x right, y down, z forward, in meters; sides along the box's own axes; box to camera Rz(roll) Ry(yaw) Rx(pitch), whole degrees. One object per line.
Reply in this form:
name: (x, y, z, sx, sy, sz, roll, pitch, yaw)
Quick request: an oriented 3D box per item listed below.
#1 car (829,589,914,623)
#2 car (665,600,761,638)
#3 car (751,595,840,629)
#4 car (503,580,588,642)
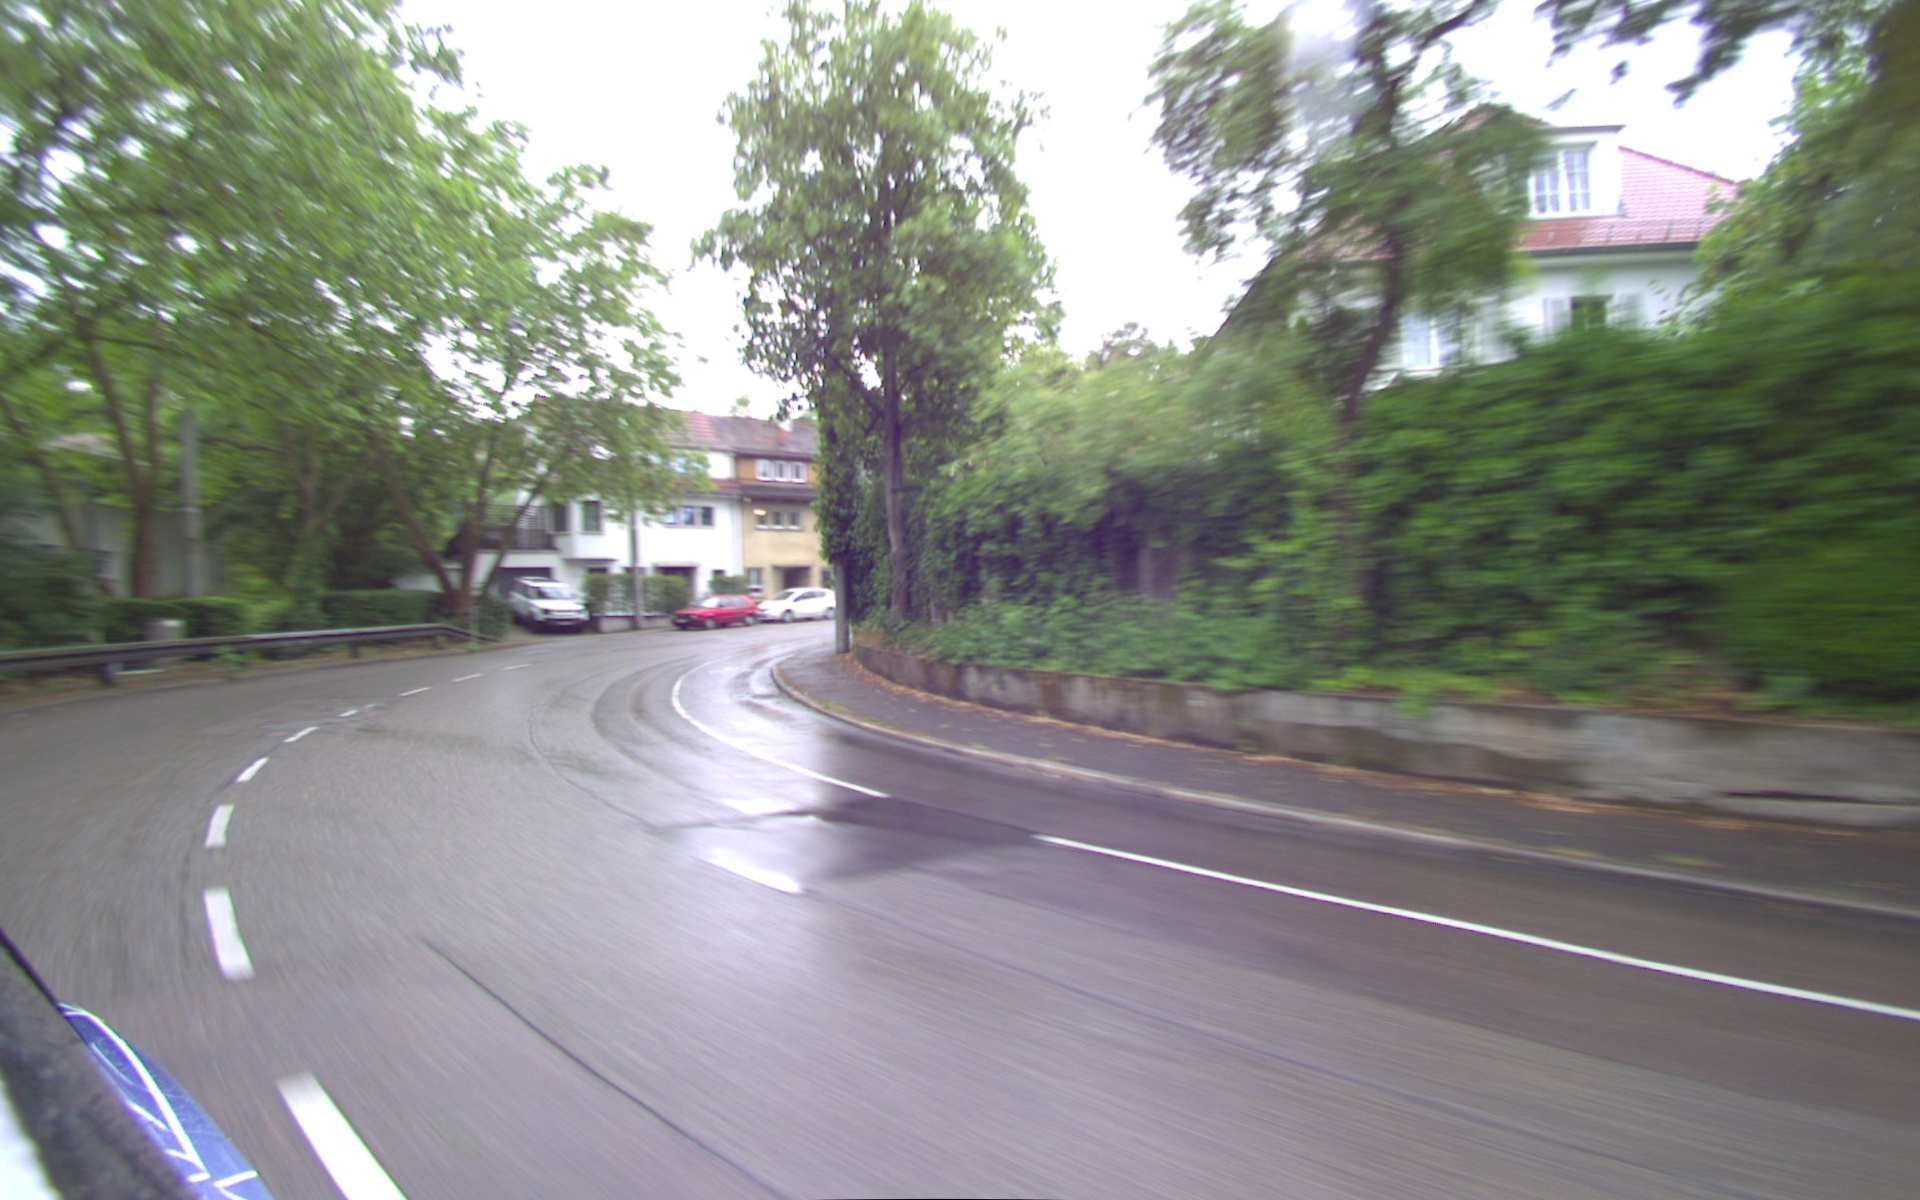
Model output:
car: (-4.327, 0.245, 49.820, 4.028, 1.528, 1.636, -2, 2, -43)
car: (-10.334, 0.749, 42.598, 1.628, 1.430, 3.959, 0, 1, 30)
car: (-7.532, 0.527, 46.640, 1.633, 1.430, 3.946, 0, 2, 40)
car: (-16.743, 0.380, 40.773, 1.928, 1.938, 4.276, -2, 7, -41)
